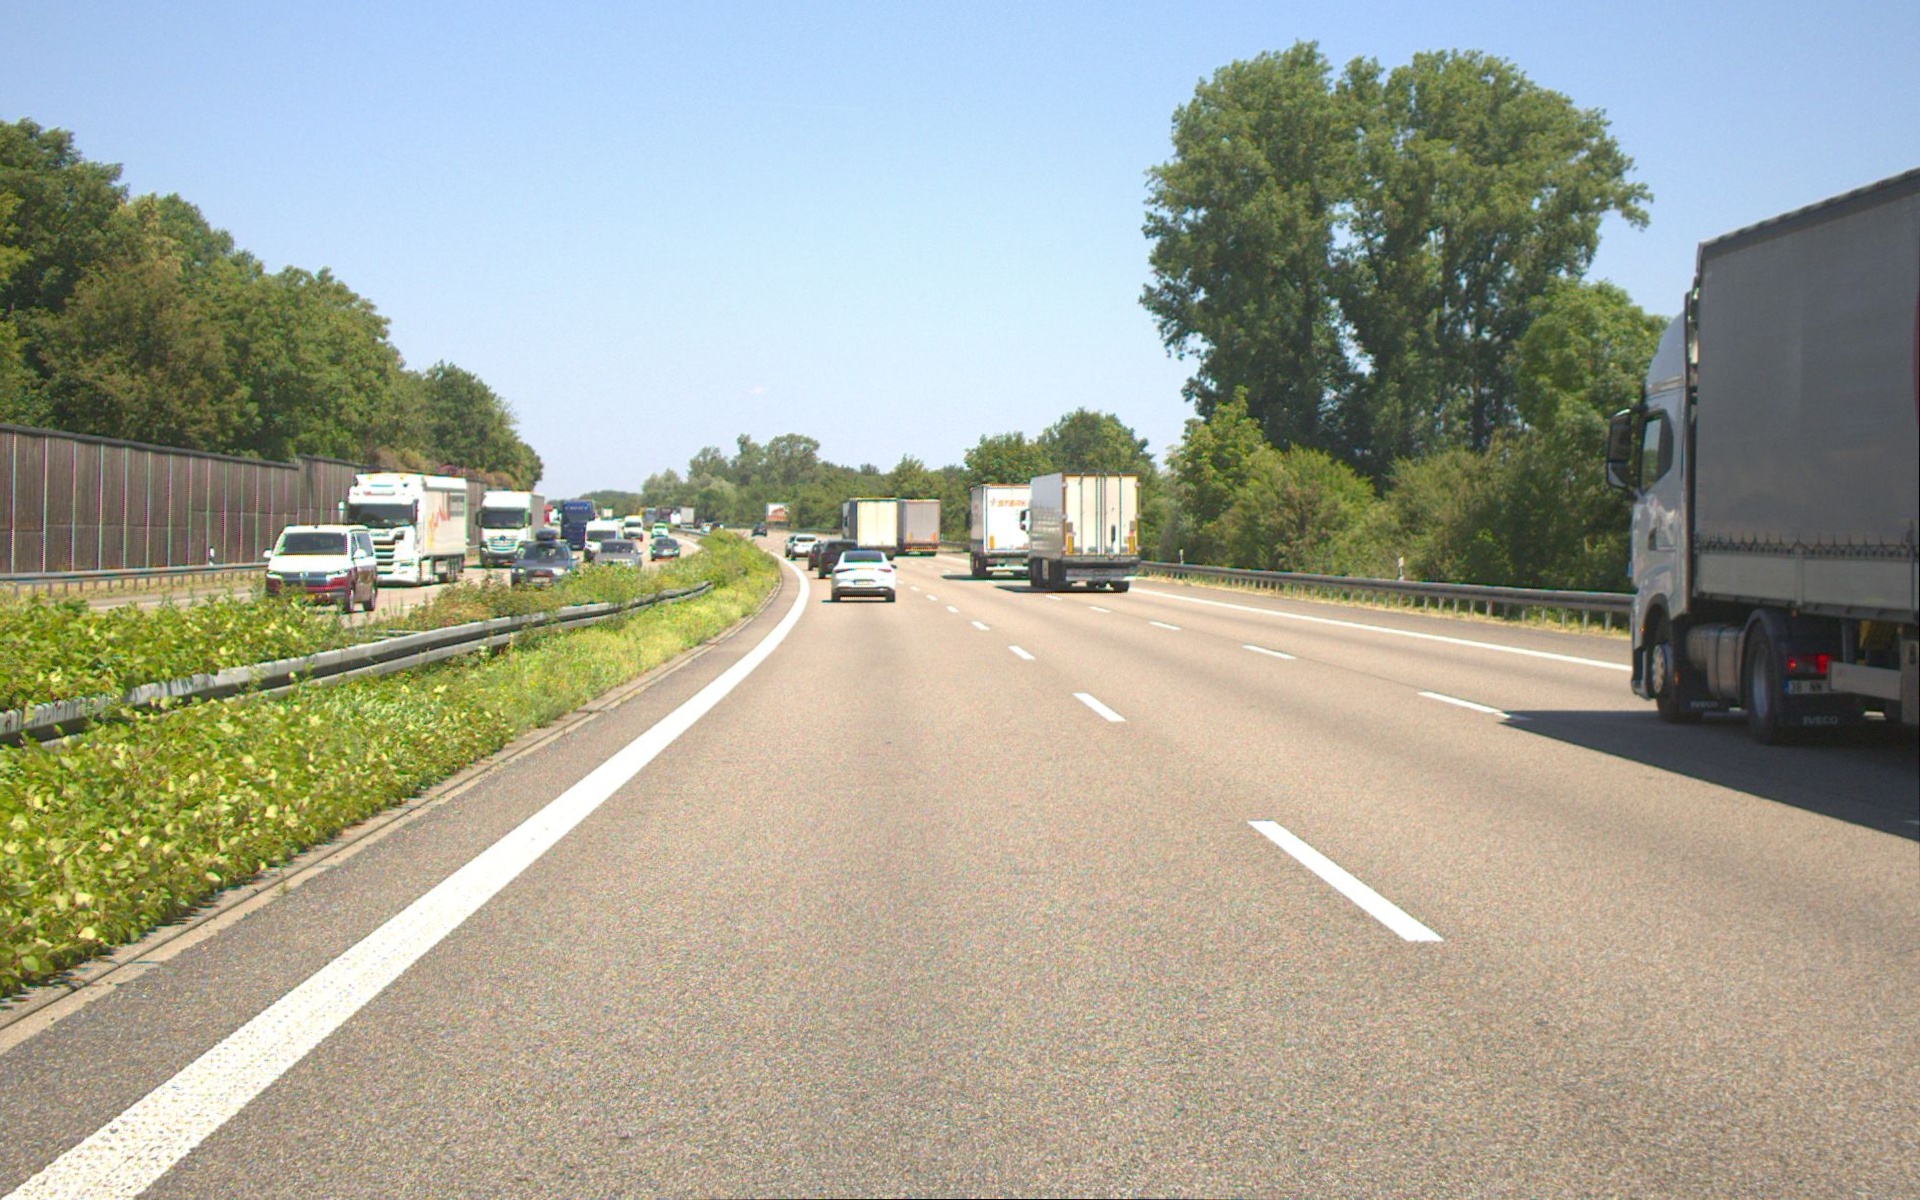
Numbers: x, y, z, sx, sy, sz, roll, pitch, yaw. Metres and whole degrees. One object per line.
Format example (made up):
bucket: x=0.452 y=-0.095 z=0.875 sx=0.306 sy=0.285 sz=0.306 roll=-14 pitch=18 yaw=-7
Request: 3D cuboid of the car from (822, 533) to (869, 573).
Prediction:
car: x=-5.038 y=-2.073 z=150.958 sx=1.993 sy=1.766 sz=4.001 roll=0 pitch=1 yaw=-2

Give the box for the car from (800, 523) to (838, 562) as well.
car: x=-7.379 y=-3.037 z=180.243 sx=1.993 sy=2.007 sz=4.001 roll=0 pitch=1 yaw=-2

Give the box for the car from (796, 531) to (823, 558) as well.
car: x=-9.880 y=-3.667 z=226.314 sx=1.723 sy=1.777 sz=4.001 roll=0 pitch=1 yaw=-2

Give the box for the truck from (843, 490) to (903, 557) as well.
truck: x=-5.856 y=-5.037 z=228.760 sx=3.579 sy=4.296 sz=12.192 roll=0 pitch=1 yaw=-3

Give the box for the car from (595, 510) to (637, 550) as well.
car: x=-20.650 y=-4.219 z=206.623 sx=2.080 sy=2.393 sz=6.043 roll=0 pitch=1 yaw=-2

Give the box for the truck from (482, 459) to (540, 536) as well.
truck: x=-23.984 y=-5.472 z=183.870 sx=2.502 sy=4.041 sz=6.363 roll=0 pitch=1 yaw=-2

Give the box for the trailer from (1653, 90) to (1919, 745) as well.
trailer: x=7.526 y=-1.180 z=22.548 sx=2.624 sy=4.246 sz=14.062 roll=0 pitch=1 yaw=-2

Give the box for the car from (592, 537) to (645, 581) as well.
car: x=-13.302 y=-1.611 z=134.098 sx=1.766 sy=1.646 sz=4.039 roll=0 pitch=1 yaw=-2

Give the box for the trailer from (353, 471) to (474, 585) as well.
trailer: x=-20.580 y=-2.671 z=130.233 sx=2.754 sy=4.060 sz=14.391 roll=0 pitch=1 yaw=-2

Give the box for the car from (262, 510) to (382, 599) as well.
car: x=-14.341 y=-1.040 z=77.493 sx=1.926 sy=1.939 sz=4.609 roll=0 pitch=1 yaw=-1

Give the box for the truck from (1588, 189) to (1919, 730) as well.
truck: x=7.315 y=-1.145 z=29.990 sx=2.606 sy=4.272 sz=5.436 roll=0 pitch=1 yaw=0

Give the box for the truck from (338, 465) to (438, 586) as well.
truck: x=-20.294 y=-2.616 z=122.271 sx=2.730 sy=4.178 sz=6.037 roll=0 pitch=1 yaw=-2

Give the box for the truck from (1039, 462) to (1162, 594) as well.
truck: x=4.729 y=-2.445 z=118.267 sx=3.492 sy=4.296 sz=10.989 roll=0 pitch=1 yaw=-1

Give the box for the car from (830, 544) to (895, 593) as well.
car: x=-2.776 y=-0.906 z=98.302 sx=1.715 sy=1.365 sz=3.375 roll=0 pitch=1 yaw=1

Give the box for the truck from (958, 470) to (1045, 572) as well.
truck: x=1.760 y=-3.418 z=150.854 sx=3.359 sy=4.296 sz=10.829 roll=0 pitch=1 yaw=-1

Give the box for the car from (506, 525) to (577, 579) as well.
car: x=-12.319 y=-1.424 z=101.390 sx=1.713 sy=1.538 sz=4.362 roll=0 pitch=1 yaw=-2

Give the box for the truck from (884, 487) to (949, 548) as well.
truck: x=-3.225 y=-5.971 z=251.076 sx=3.829 sy=4.296 sz=11.556 roll=0 pitch=1 yaw=-5

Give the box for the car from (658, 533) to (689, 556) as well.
car: x=-17.787 y=-3.446 z=213.321 sx=1.760 sy=1.423 sz=3.936 roll=0 pitch=1 yaw=-2
